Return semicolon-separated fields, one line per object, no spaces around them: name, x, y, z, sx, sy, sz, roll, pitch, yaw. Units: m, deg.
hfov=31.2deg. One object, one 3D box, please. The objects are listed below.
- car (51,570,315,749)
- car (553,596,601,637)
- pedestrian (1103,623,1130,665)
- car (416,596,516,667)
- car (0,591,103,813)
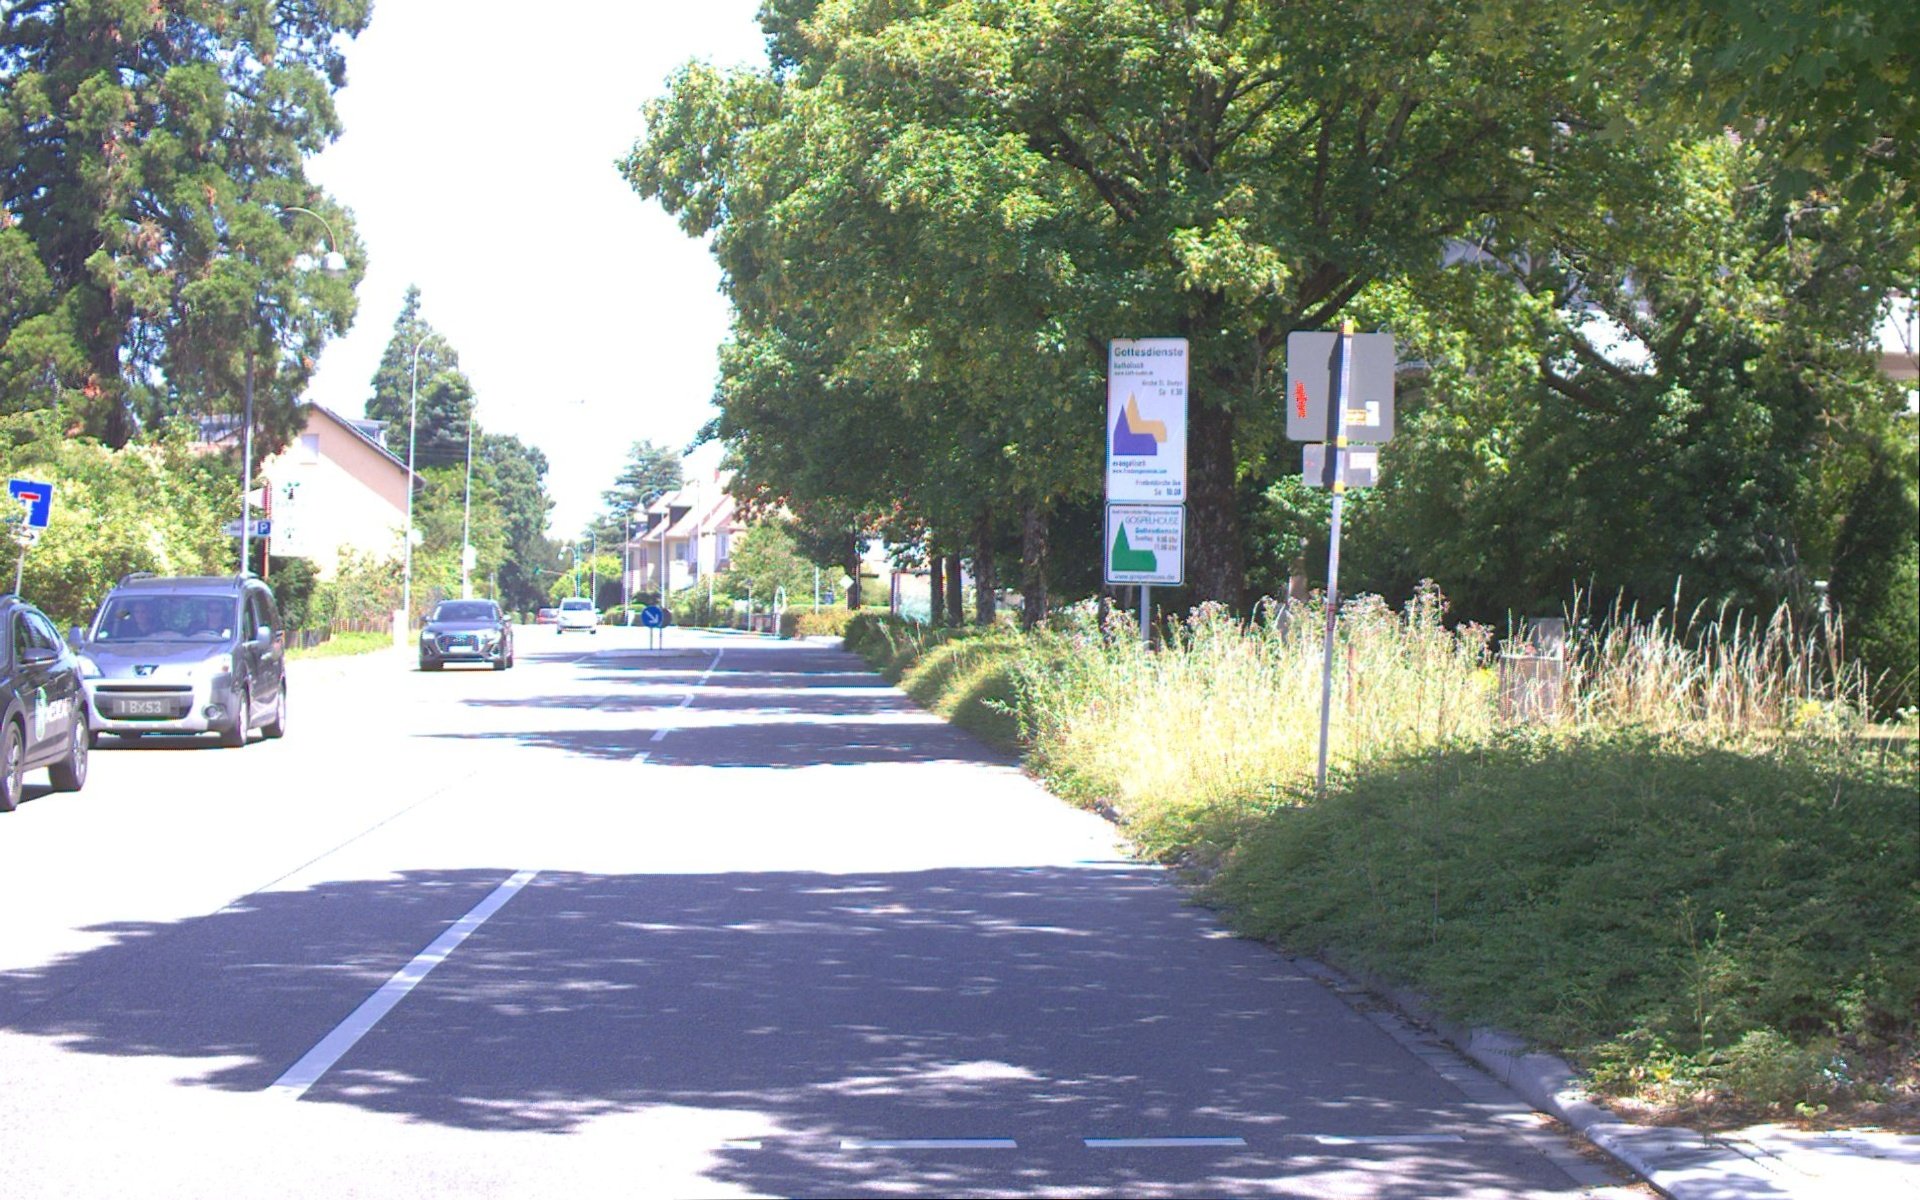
car;-8.080;0.583;36.135;1.811;1.756;4.570;0;0;-1
car;-17.415;0.738;156.452;1.912;1.683;4.126;2;2;-4
pedestrian;4.322;1.214;95.090;0.704;1.156;0.754;1;0;1
car;-10.930;0.678;76.303;1.793;1.531;4.315;0;0;-3
car;-7.591;0.685;25.255;1.869;1.501;4.053;0;0;-4
